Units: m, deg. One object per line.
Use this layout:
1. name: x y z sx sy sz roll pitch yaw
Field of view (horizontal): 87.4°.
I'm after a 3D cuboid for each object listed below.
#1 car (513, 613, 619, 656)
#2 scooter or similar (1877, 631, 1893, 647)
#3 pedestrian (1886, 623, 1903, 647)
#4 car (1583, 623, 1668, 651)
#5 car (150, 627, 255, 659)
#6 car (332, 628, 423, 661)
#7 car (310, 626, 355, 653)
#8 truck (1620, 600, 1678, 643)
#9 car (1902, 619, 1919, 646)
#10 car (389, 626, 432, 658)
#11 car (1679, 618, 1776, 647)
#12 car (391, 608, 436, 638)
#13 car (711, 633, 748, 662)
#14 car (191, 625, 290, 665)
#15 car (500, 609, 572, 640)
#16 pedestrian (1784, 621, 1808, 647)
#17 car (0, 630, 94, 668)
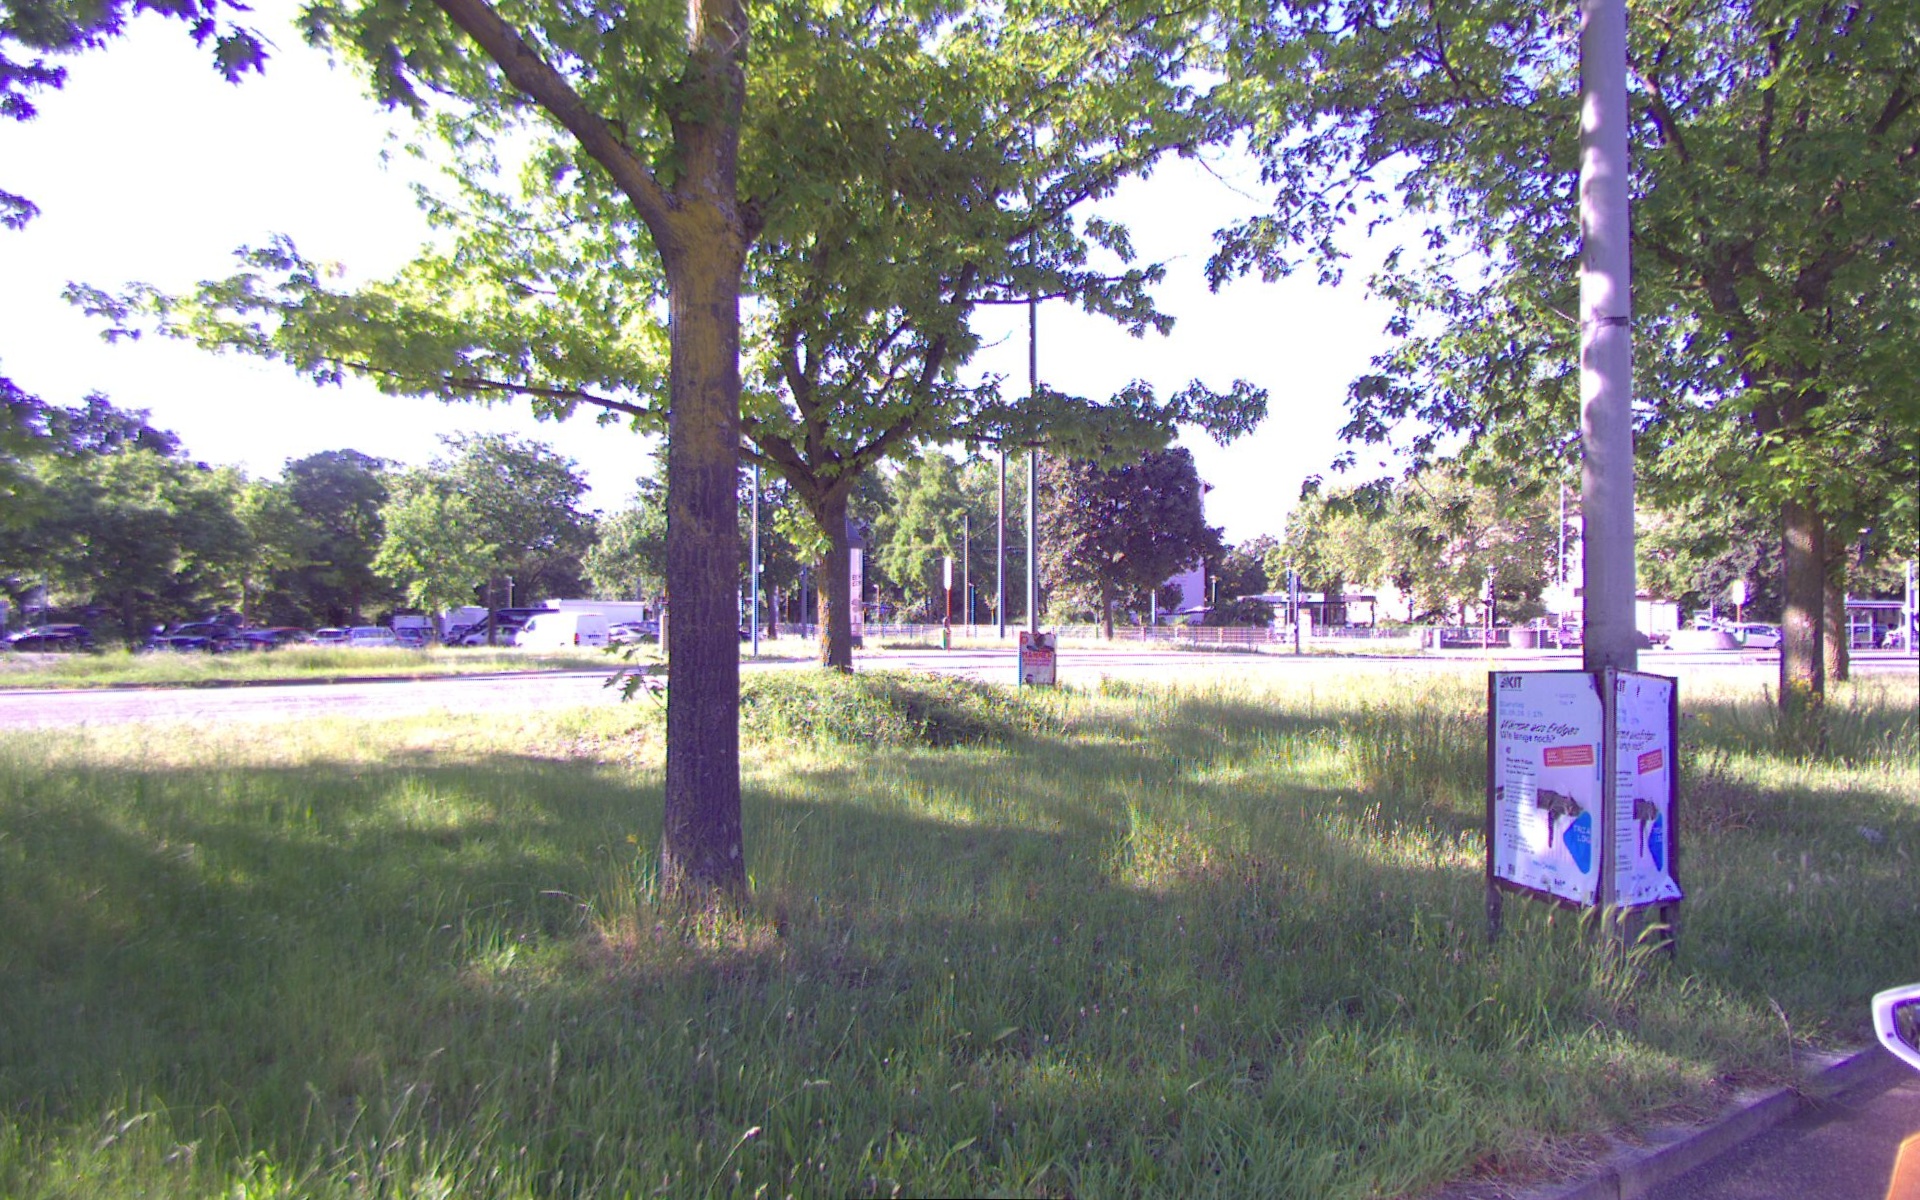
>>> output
1. car: -17.214 1.467 43.805 4.670 1.762 2.024 0 -1 34
2. scooter or similar: 54.629 2.295 59.318 0.524 0.939 0.421 0 -1 -4
3. pedestrian: 55.201 2.076 59.356 0.614 1.409 0.416 0 -1 -3
4. car: 41.421 2.294 62.569 3.919 1.706 2.001 0 -1 9
5. car: -26.839 1.497 35.634 1.315 1.078 2.777 0 -1 42
6. car: -21.822 1.627 37.639 2.769 1.171 1.326 1 -1 -40
7. car: -29.290 1.817 46.870 1.603 1.194 3.047 1 -1 -35
8. truck: 46.645 1.466 68.094 1.960 2.842 4.002 0 -1 15
9. car: 71.867 2.383 73.359 1.910 2.040 4.155 1 -1 -31
10. car: -26.698 2.020 48.784 1.602 1.438 3.050 1 -1 -33
11. car: 46.911 1.954 61.469 4.233 1.706 2.001 0 -1 9
12. car: -32.484 1.356 59.791 1.865 1.691 3.733 1 -1 -22
13. car: -12.027 2.445 52.492 1.589 1.438 3.073 0 -1 -8
14. car: -25.229 1.556 35.249 2.769 1.323 1.326 1 -1 -40
15. car: -24.126 1.404 57.294 3.698 1.691 1.883 1 -1 -23
16. pedestrian: 53.698 2.191 64.521 0.781 1.629 0.923 0 -1 9
17. car: -47.655 2.488 51.910 1.966 1.817 3.990 0 -1 32
